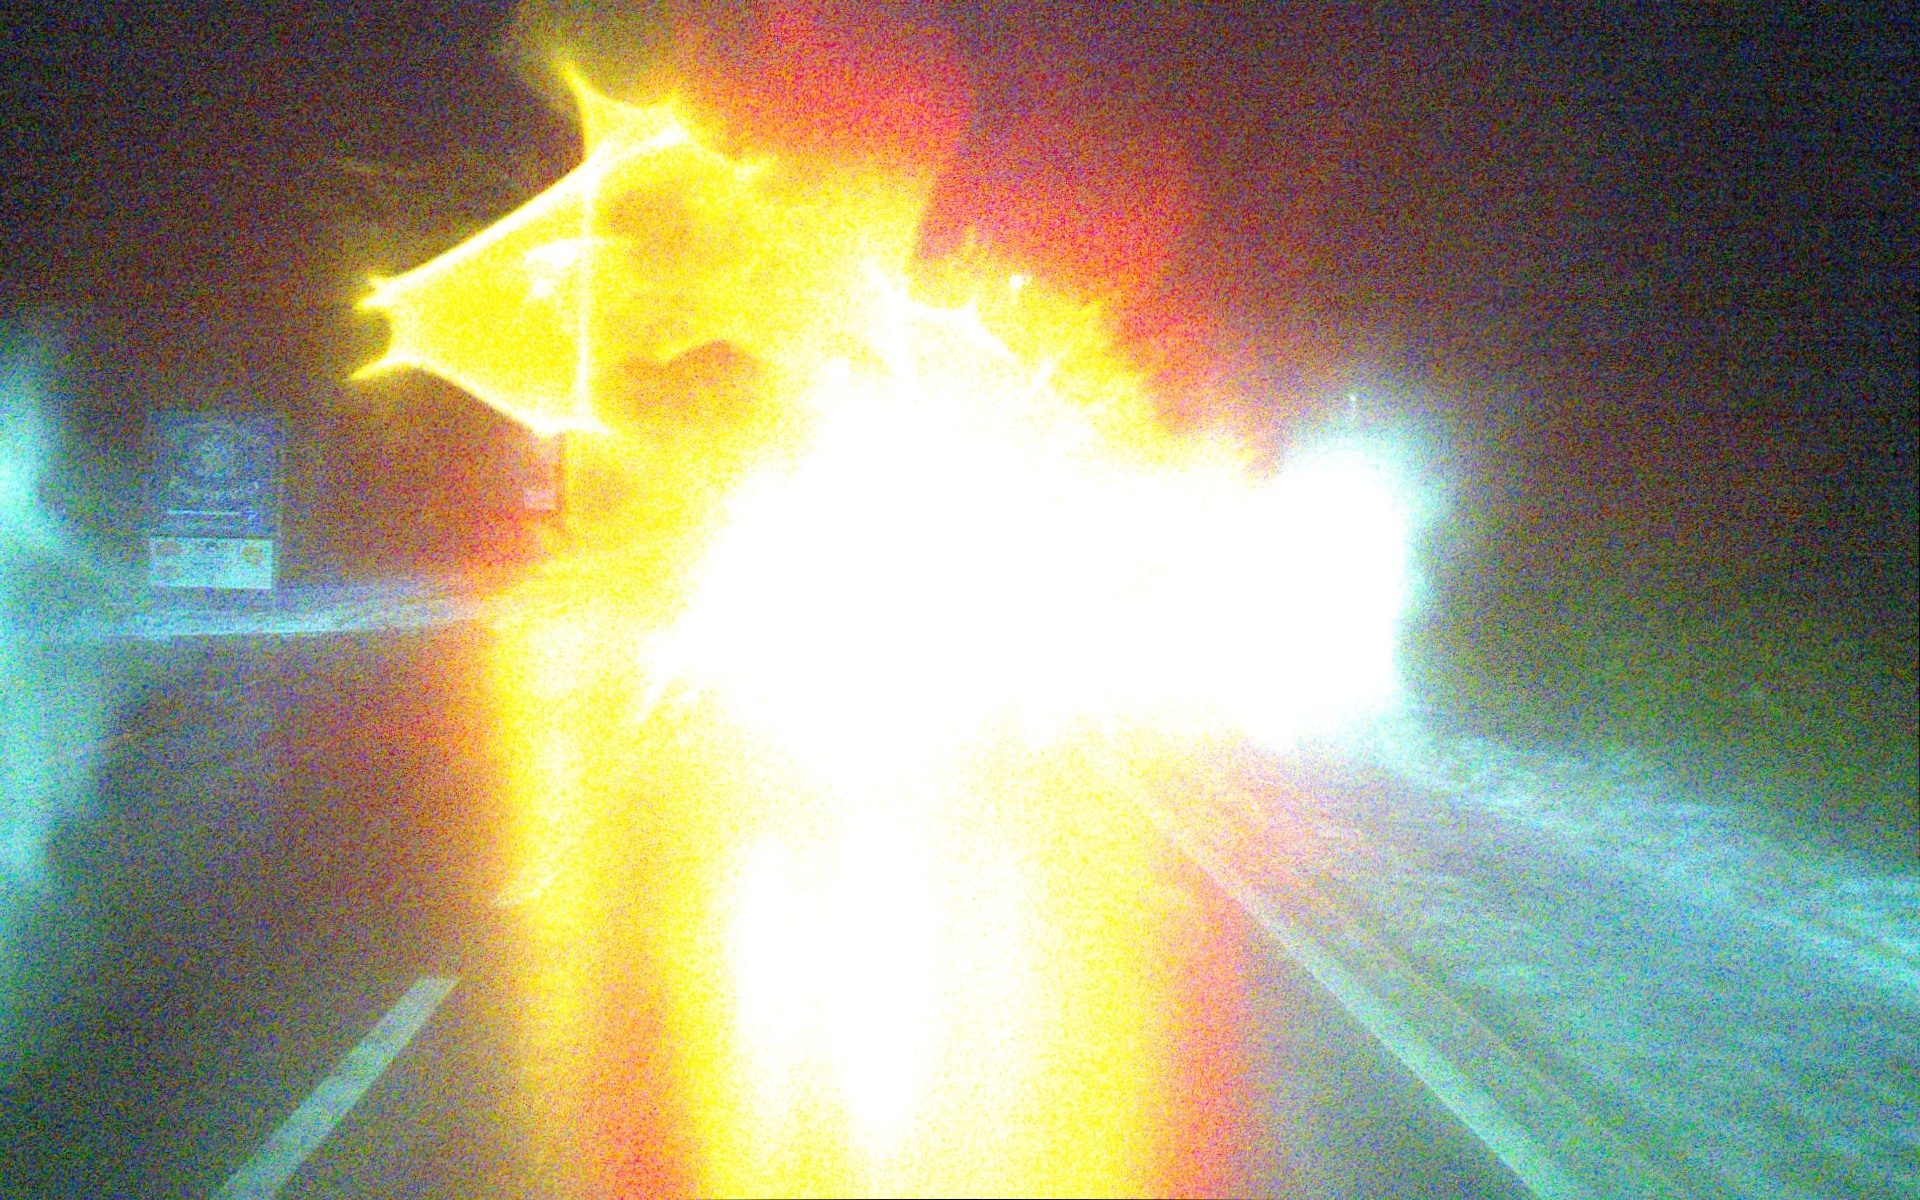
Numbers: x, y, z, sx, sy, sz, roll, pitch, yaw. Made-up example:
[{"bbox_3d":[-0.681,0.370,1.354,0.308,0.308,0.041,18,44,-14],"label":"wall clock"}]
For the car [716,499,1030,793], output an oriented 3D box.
[{"bbox_3d":[-0.466,0.212,21.595,1.791,1.675,3.904,0,2,1],"label":"car"}]
